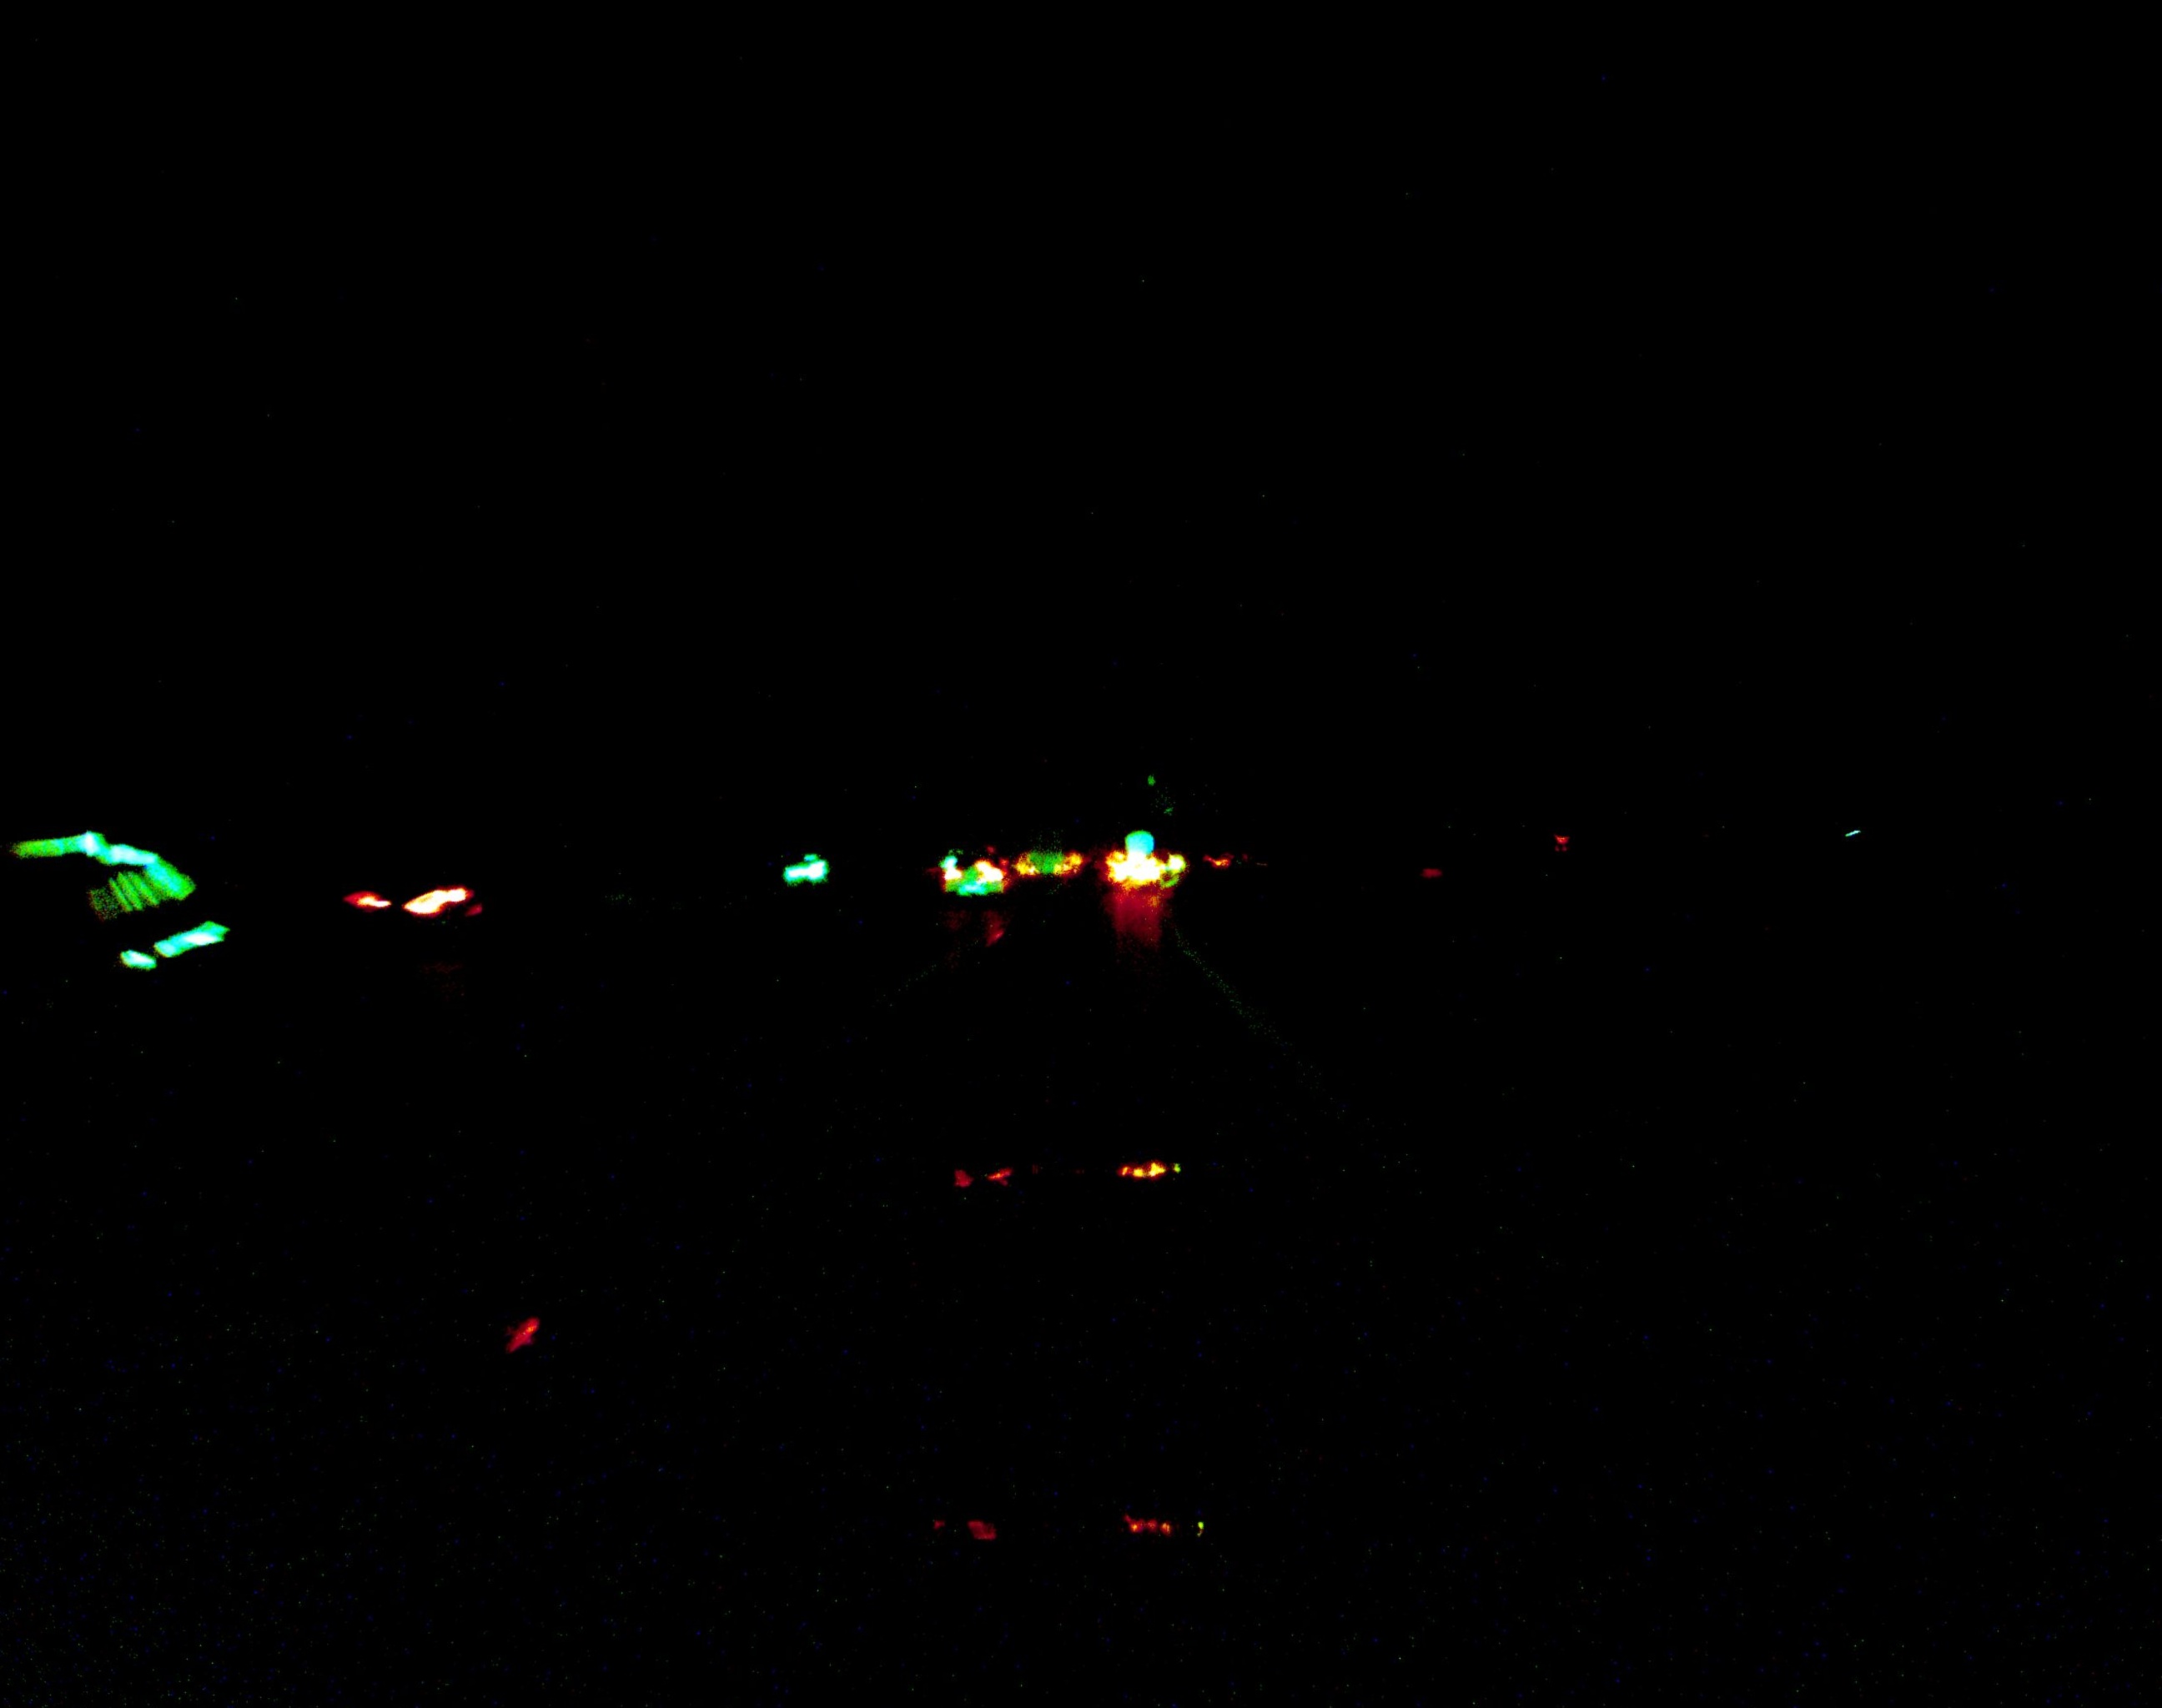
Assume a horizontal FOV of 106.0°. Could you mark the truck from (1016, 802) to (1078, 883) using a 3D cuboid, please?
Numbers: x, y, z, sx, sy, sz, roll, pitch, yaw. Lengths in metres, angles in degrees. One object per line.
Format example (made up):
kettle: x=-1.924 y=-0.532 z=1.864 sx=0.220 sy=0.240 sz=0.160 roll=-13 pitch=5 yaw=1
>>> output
truck: x=-2.399 y=-0.777 z=62.978 sx=4.196 sy=5.648 sz=11.467 roll=0 pitch=0 yaw=1

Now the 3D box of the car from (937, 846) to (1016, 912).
car: x=-3.365 y=0.769 z=27.179 sx=2.120 sy=2.014 sz=4.643 roll=0 pitch=0 yaw=-1

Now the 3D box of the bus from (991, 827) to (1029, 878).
bus: x=-6.688 y=-0.112 z=78.266 sx=3.089 sy=4.508 sz=10.903 roll=0 pitch=0 yaw=-2

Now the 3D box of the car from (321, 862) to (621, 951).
car: x=-11.613 y=0.897 z=16.140 sx=1.987 sy=1.476 sz=5.165 roll=0 pitch=0 yaw=0

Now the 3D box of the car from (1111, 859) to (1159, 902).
car: x=2.374 y=1.133 z=36.512 sx=1.986 sy=1.807 sz=4.001 roll=0 pitch=0 yaw=1

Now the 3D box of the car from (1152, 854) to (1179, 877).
car: x=7.058 y=0.952 z=68.131 sx=1.986 sy=1.807 sz=4.002 roll=0 pitch=0 yaw=2
